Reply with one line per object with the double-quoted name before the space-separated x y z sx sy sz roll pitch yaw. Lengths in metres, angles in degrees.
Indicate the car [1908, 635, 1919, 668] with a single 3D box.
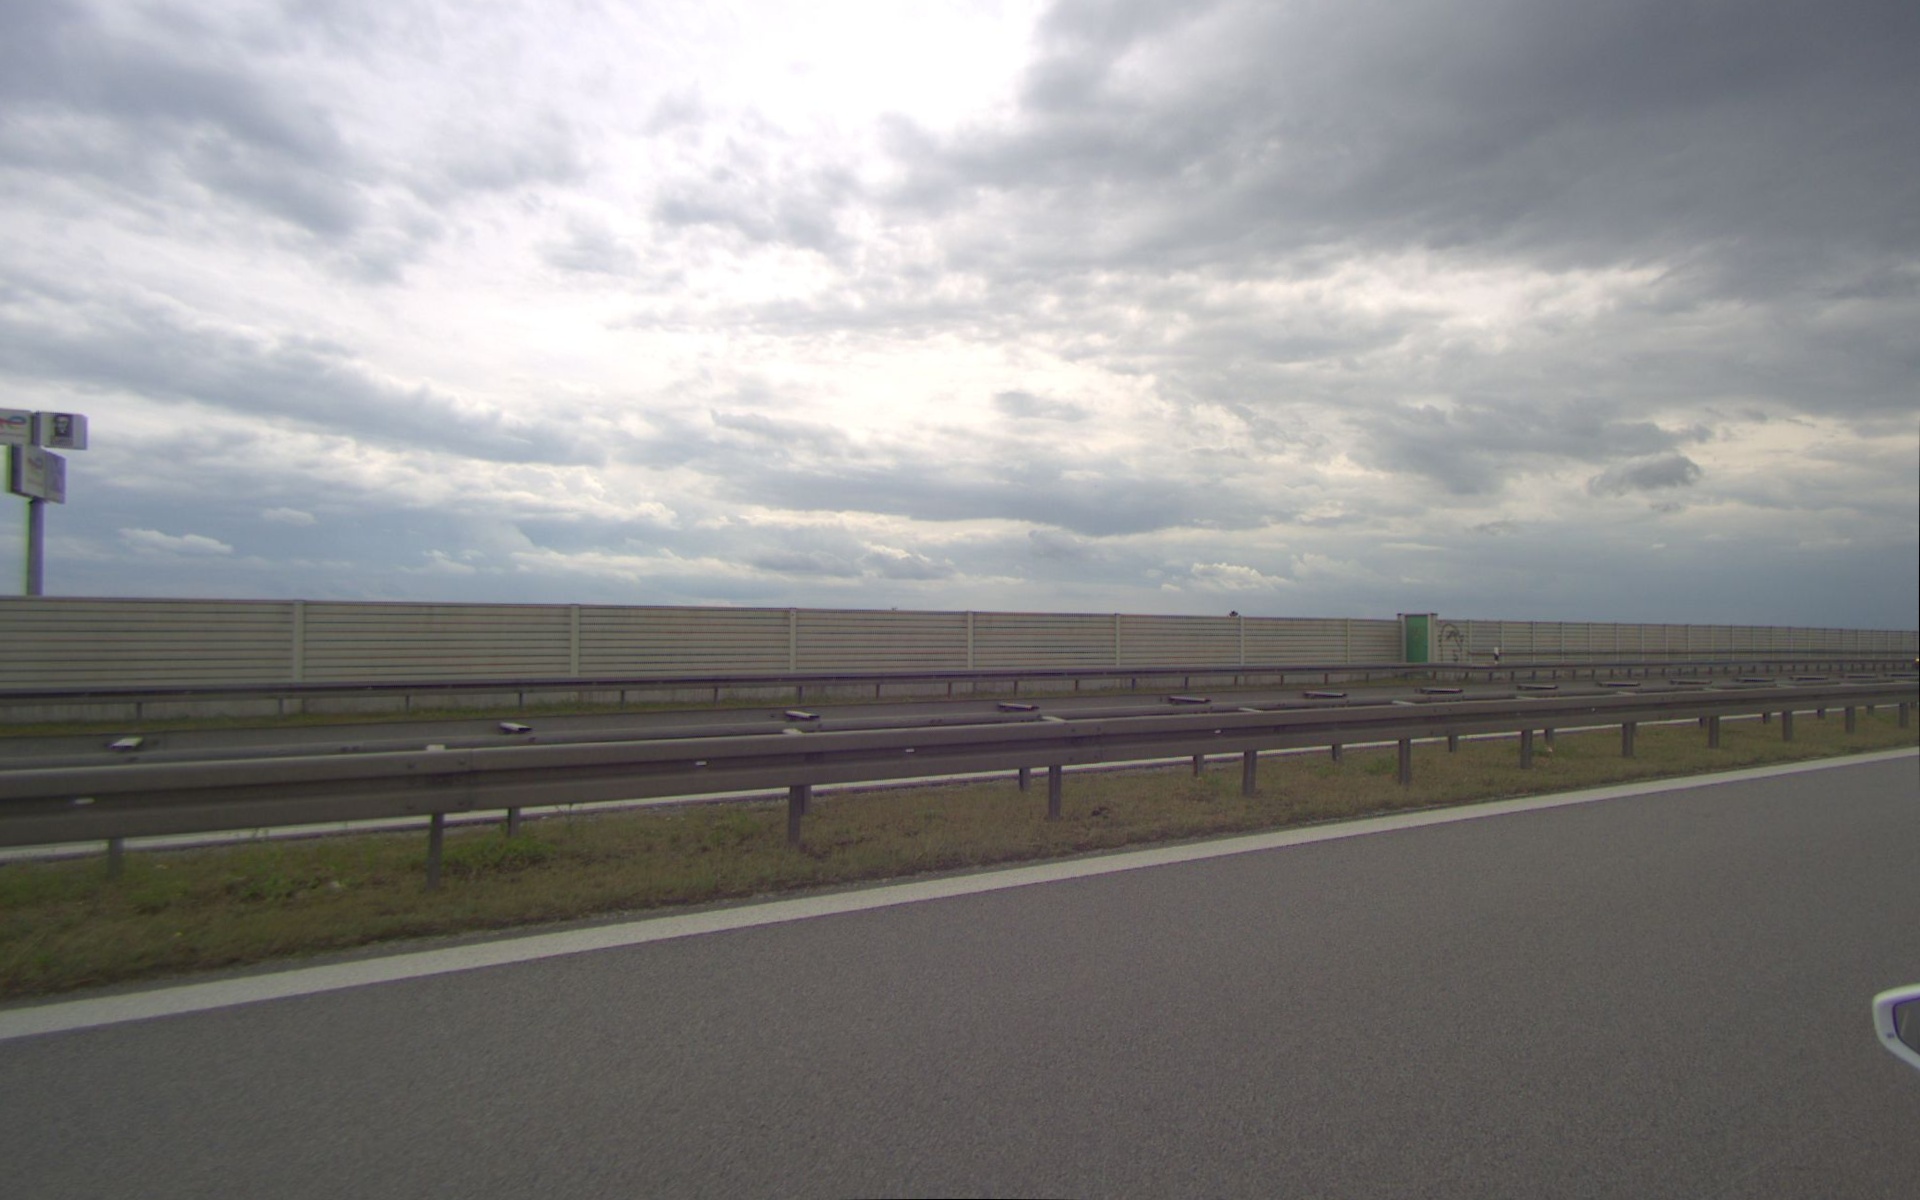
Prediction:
"car" 46.934 2.425 47.594 4.512 1.514 1.696 2 -3 -30
